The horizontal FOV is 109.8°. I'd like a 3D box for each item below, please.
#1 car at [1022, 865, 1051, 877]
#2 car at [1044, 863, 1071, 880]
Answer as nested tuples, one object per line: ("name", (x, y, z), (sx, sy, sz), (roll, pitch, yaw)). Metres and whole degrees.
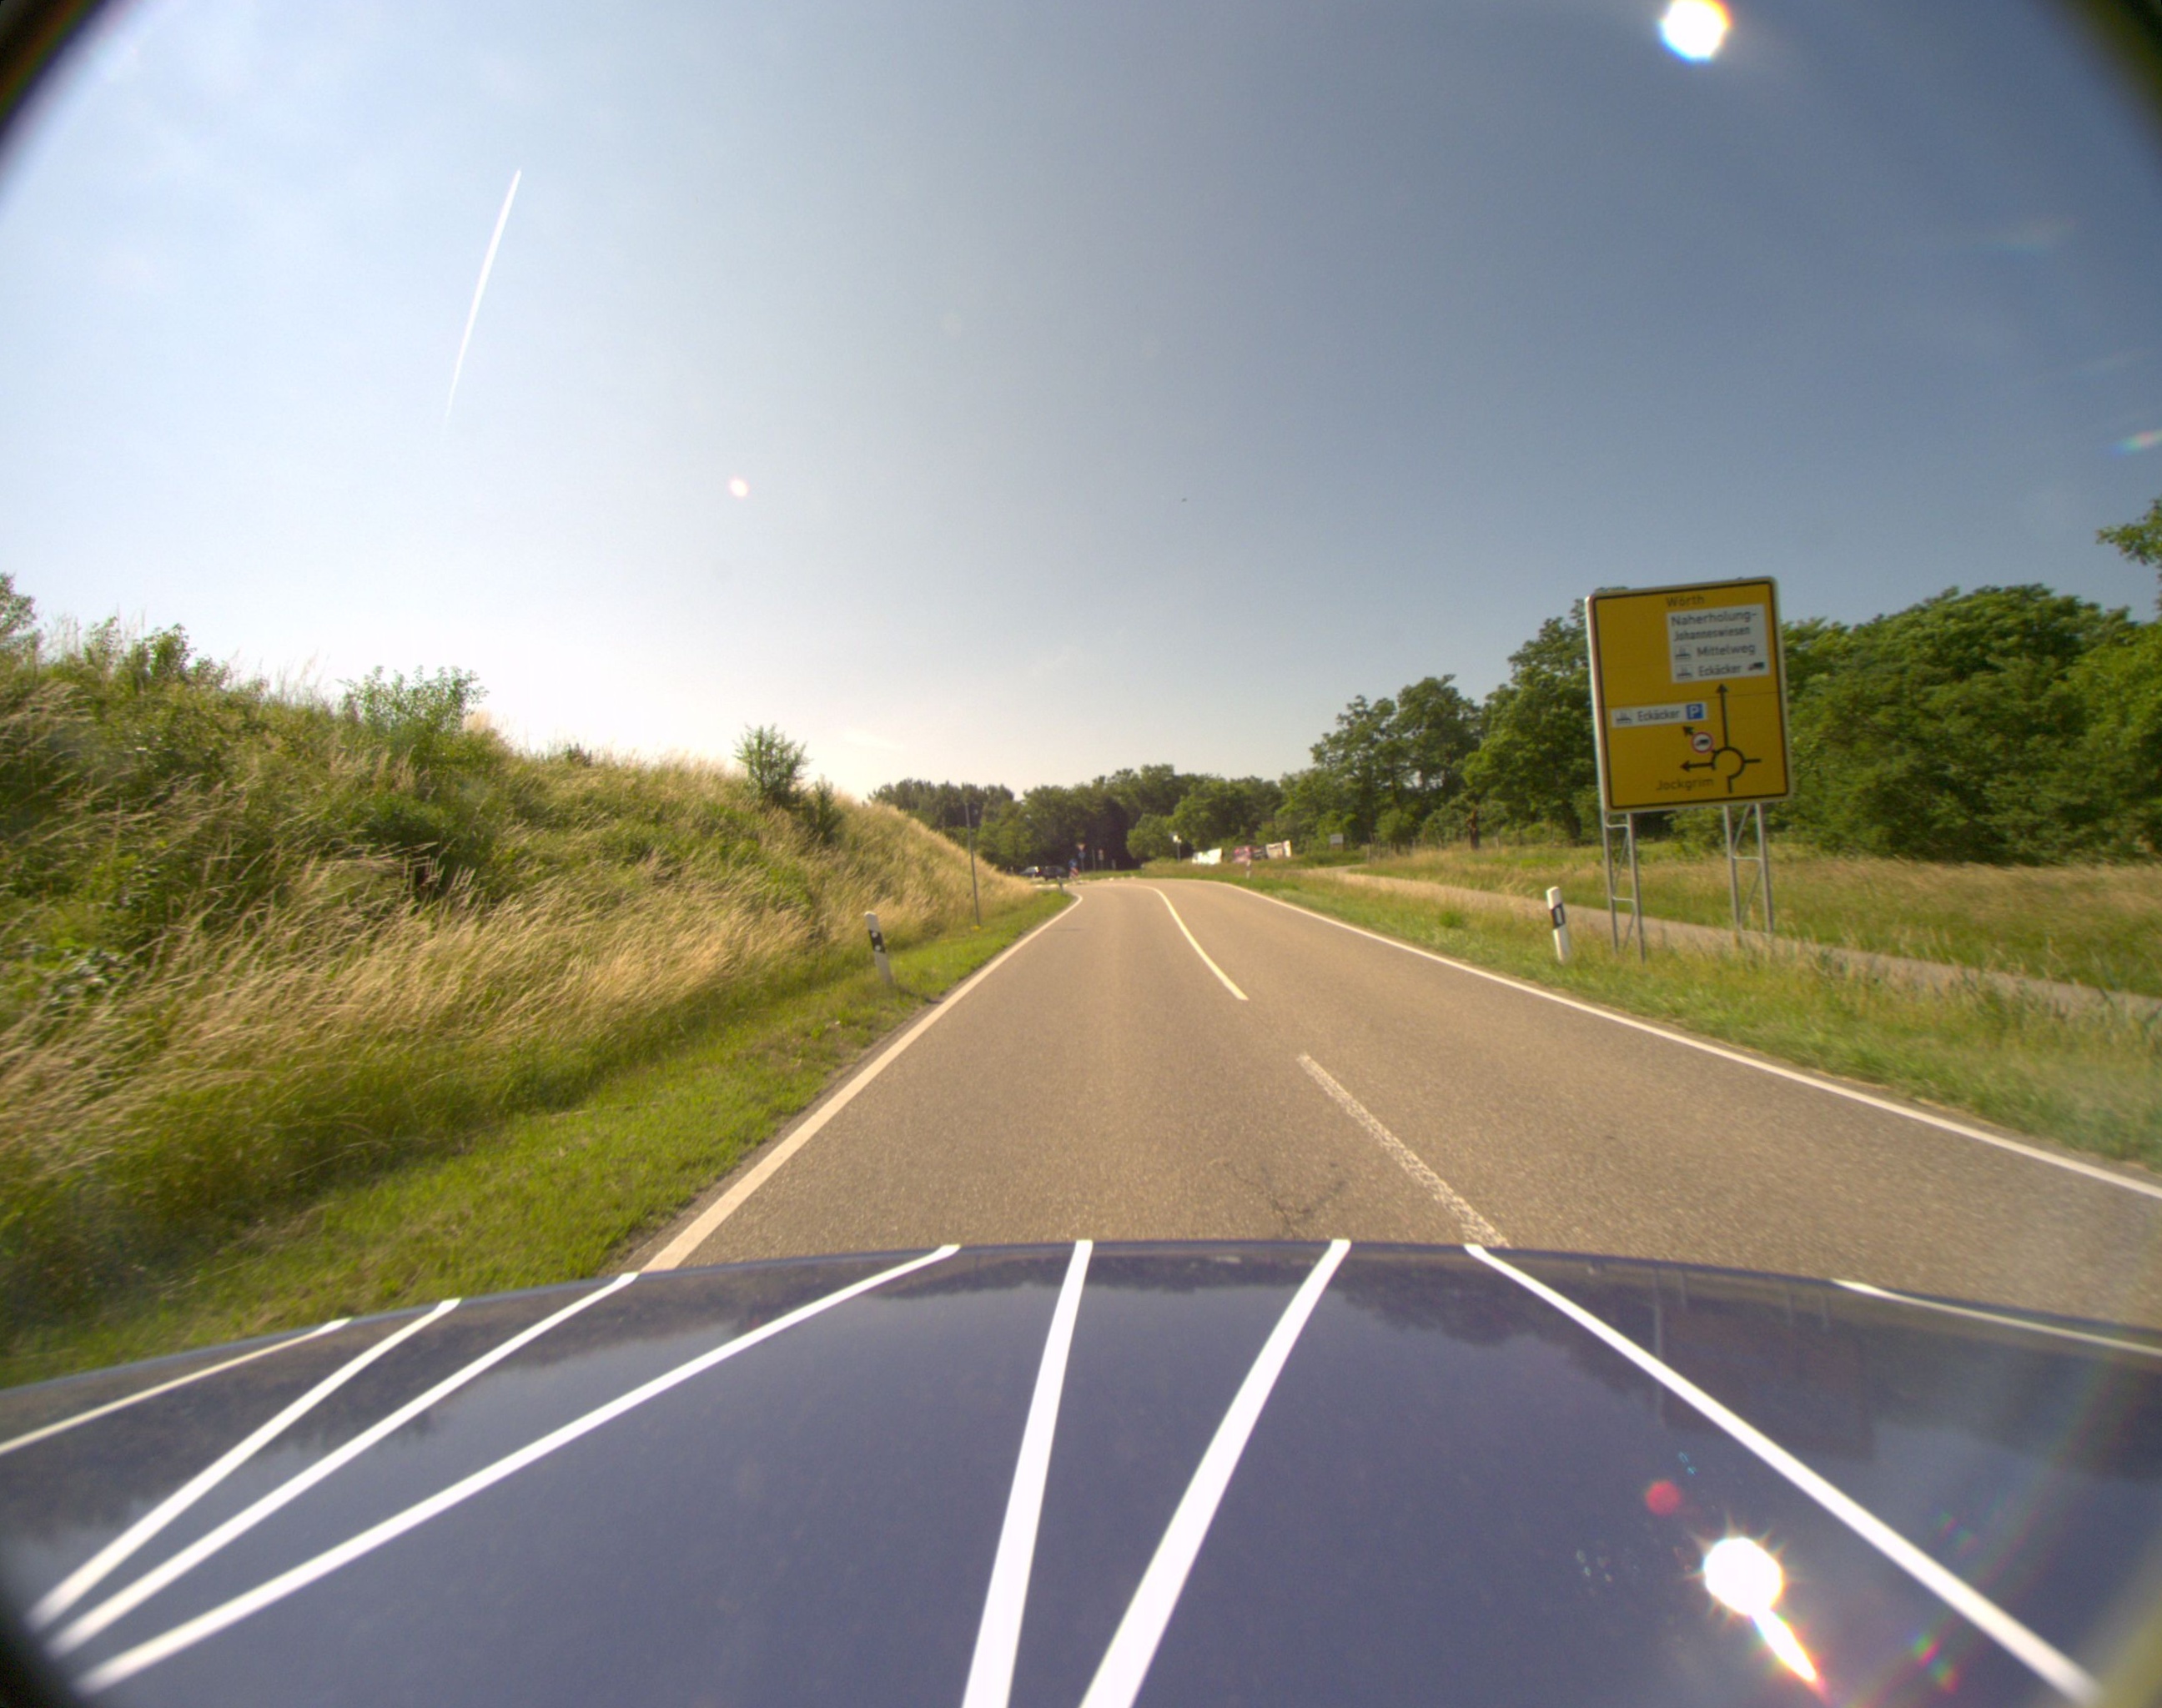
("car", (-6.010, 2.347, 102.238), (1.817, 1.481, 4.668), (-4, 1, -33))
("car", (-2.622, 1.991, 86.348), (1.705, 1.646, 4.356), (-4, 0, 16))
